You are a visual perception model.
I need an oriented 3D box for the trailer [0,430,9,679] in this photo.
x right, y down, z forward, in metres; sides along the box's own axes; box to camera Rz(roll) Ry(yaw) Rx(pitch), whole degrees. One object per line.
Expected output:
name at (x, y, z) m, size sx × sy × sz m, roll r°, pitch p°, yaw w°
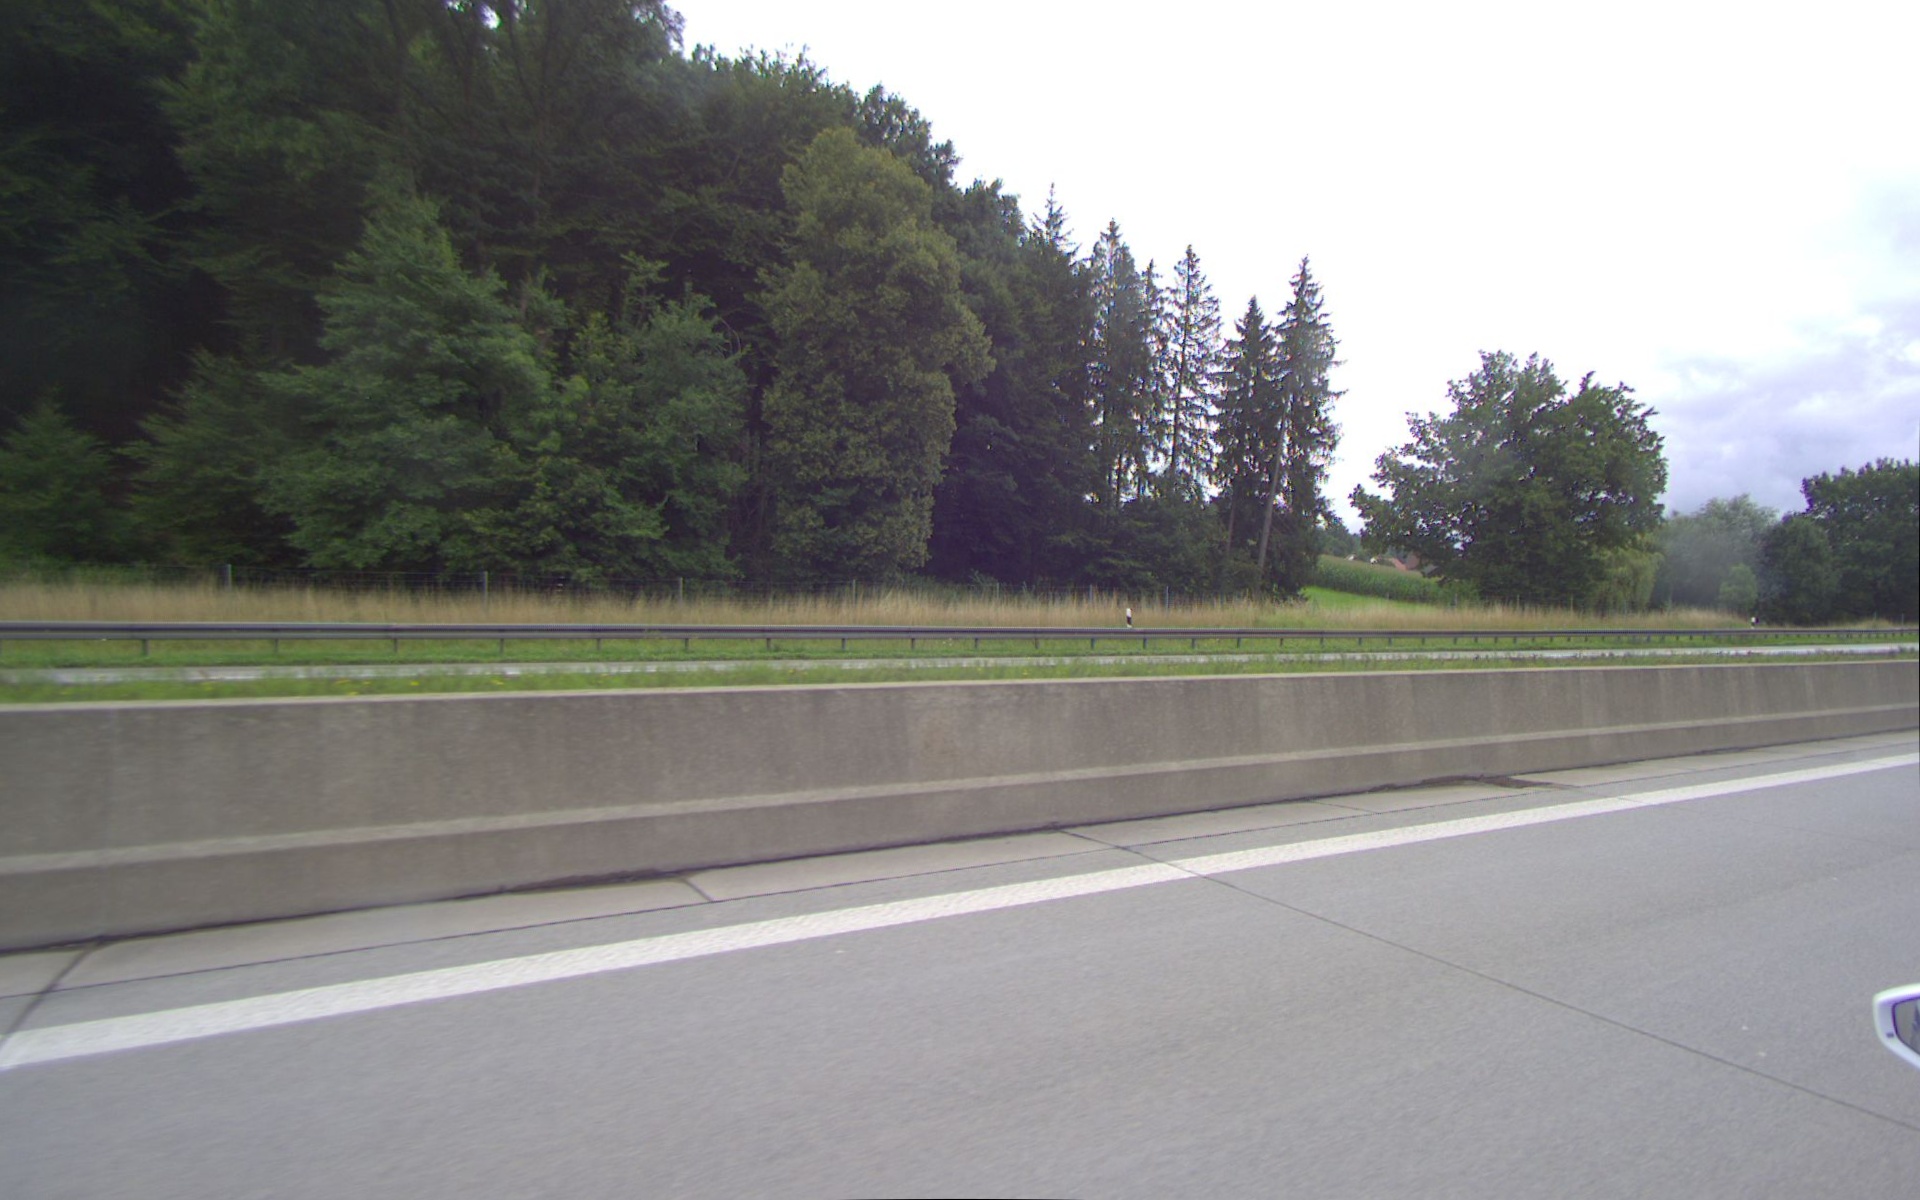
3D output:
trailer at (-19.060, -0.813, 9.875) m, size 13.724 × 3.554 × 2.771 m, roll 2°, pitch 0°, yaw -31°
